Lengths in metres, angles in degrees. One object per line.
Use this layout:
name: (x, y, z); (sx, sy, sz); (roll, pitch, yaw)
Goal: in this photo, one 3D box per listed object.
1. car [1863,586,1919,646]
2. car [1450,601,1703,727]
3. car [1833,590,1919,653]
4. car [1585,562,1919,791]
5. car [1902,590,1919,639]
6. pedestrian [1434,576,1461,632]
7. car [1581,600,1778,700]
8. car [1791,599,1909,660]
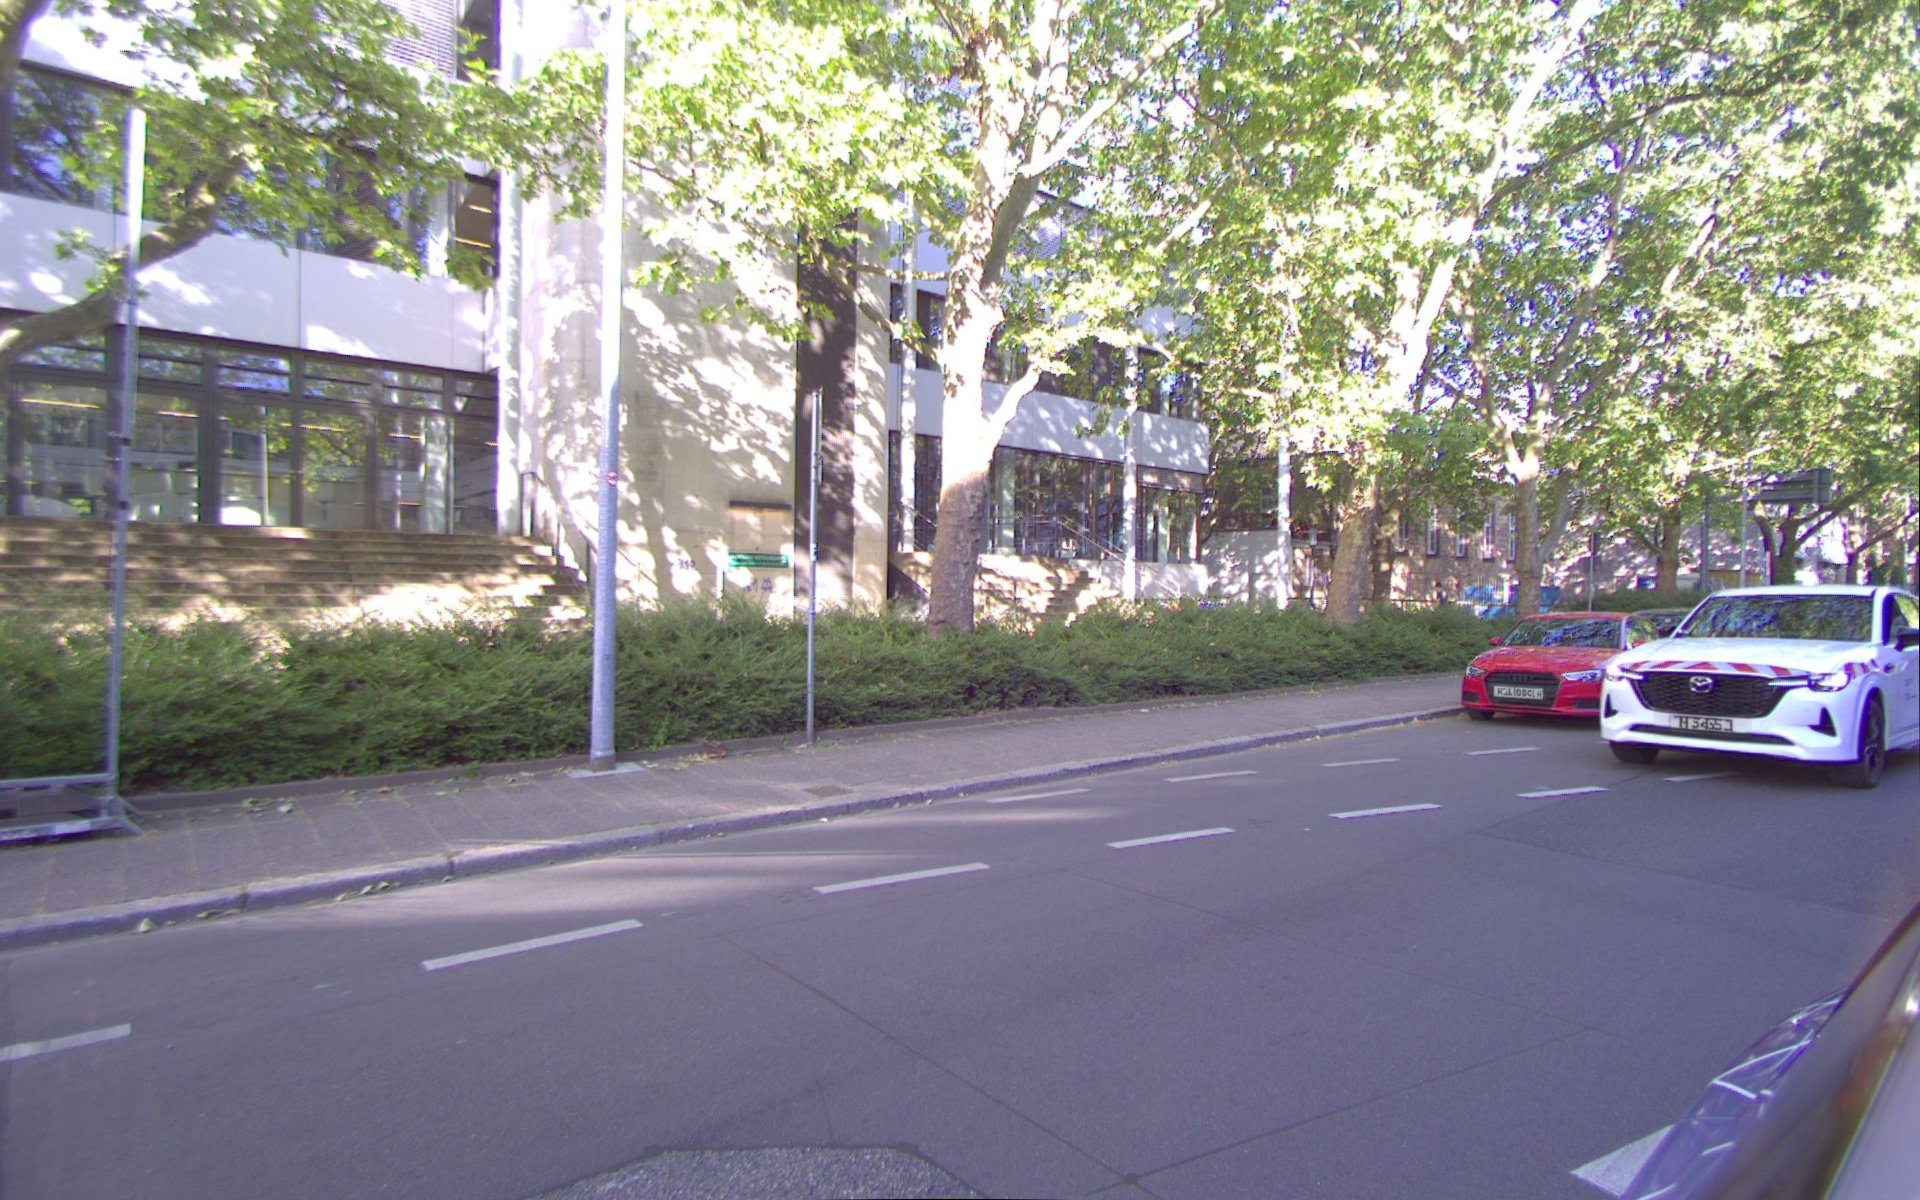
car: (30.972, 0.485, 32.966); (4.370, 1.844, 1.753); (0, -1, -41)
car: (8.270, 0.739, 13.449); (3.930, 1.427, 1.753); (0, -1, -41)
car: (26.715, 0.584, 29.175); (4.101, 1.674, 1.753); (0, -1, -41)
car: (8.084, 0.586, 9.735); (4.398, 1.730, 1.949); (0, -1, -35)
car: (36.195, 0.515, 37.262); (4.370, 1.750, 1.753); (0, -1, -41)
pedestrian: (14.972, 0.108, 31.101); (0.649, 1.691, 0.525); (0, 0, -39)
car: (11.851, 0.737, 16.588); (3.841, 1.451, 1.753); (0, -1, -41)
car: (22.948, 0.714, 26.062); (3.841, 1.451, 1.753); (0, -1, -41)
